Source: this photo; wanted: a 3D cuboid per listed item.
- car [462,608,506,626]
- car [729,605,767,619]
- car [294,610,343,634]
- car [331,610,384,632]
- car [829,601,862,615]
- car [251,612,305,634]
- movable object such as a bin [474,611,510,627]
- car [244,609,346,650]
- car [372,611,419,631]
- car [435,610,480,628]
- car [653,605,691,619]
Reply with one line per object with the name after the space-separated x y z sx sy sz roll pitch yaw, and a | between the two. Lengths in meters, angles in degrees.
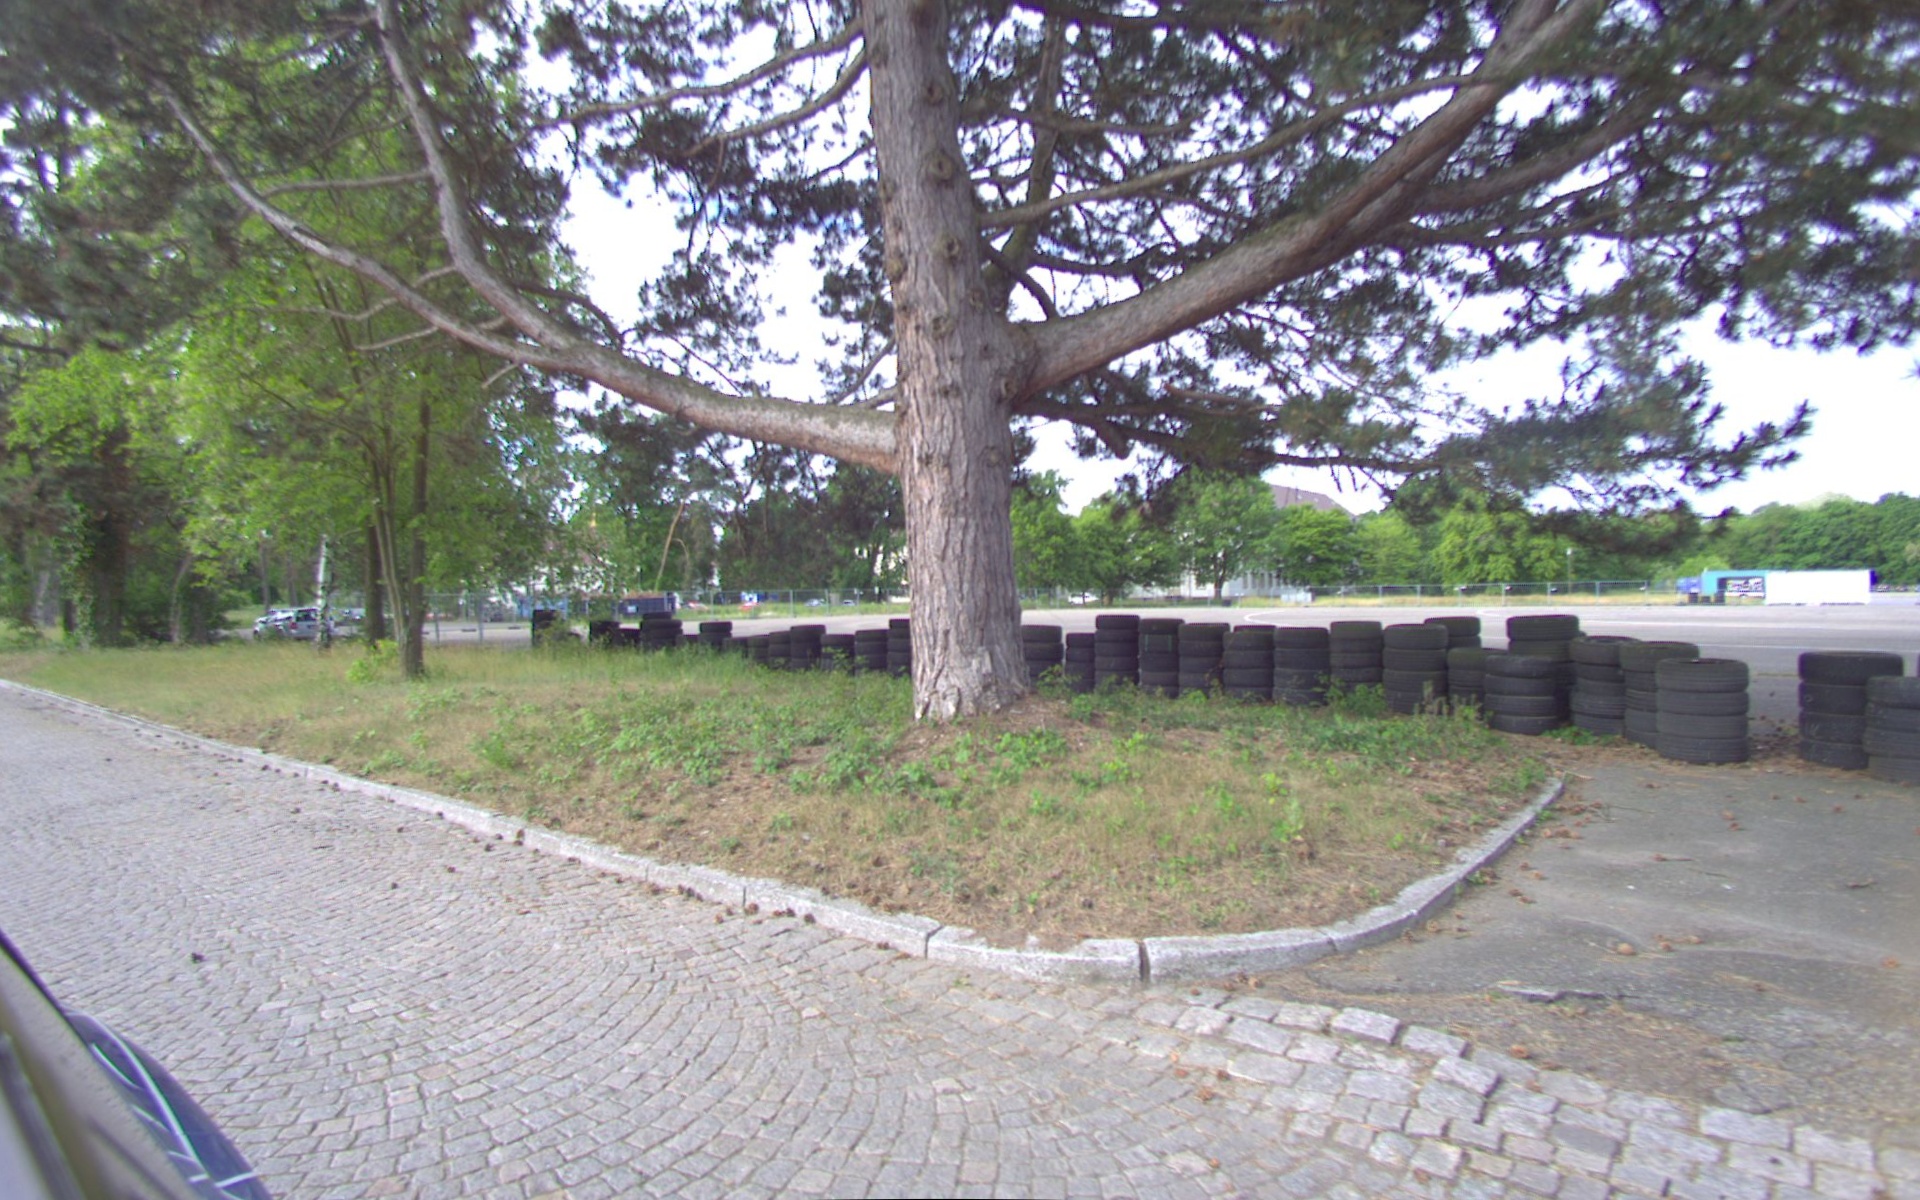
-43.175 1.556 91.716 4.395 1.486 1.807 -1 0 38 | car
-24.077 1.337 114.886 4.398 1.486 1.806 -1 0 40 | car
-45.107 1.567 71.146 3.893 1.531 1.654 -3 -1 38 | car
-43.758 1.536 73.431 4.395 1.486 1.807 -1 0 38 | car
-14.244 0.997 125.947 1.802 1.735 4.588 -1 0 -42 | car
-46.645 1.578 69.204 4.314 1.436 1.807 -1 0 38 | car
-31.604 1.284 68.343 1.952 0.976 1.432 -1 0 33 | movable object such as a bin
-24.523 1.110 37.282 4.415 1.427 1.807 -1 -3 38 | car
-42.370 1.598 75.873 4.031 1.410 1.617 -1 0 38 | car
-44.517 1.675 89.550 4.395 1.486 1.807 -1 0 38 | car
-30.380 1.276 106.764 4.398 1.361 1.689 -1 0 40 | car
